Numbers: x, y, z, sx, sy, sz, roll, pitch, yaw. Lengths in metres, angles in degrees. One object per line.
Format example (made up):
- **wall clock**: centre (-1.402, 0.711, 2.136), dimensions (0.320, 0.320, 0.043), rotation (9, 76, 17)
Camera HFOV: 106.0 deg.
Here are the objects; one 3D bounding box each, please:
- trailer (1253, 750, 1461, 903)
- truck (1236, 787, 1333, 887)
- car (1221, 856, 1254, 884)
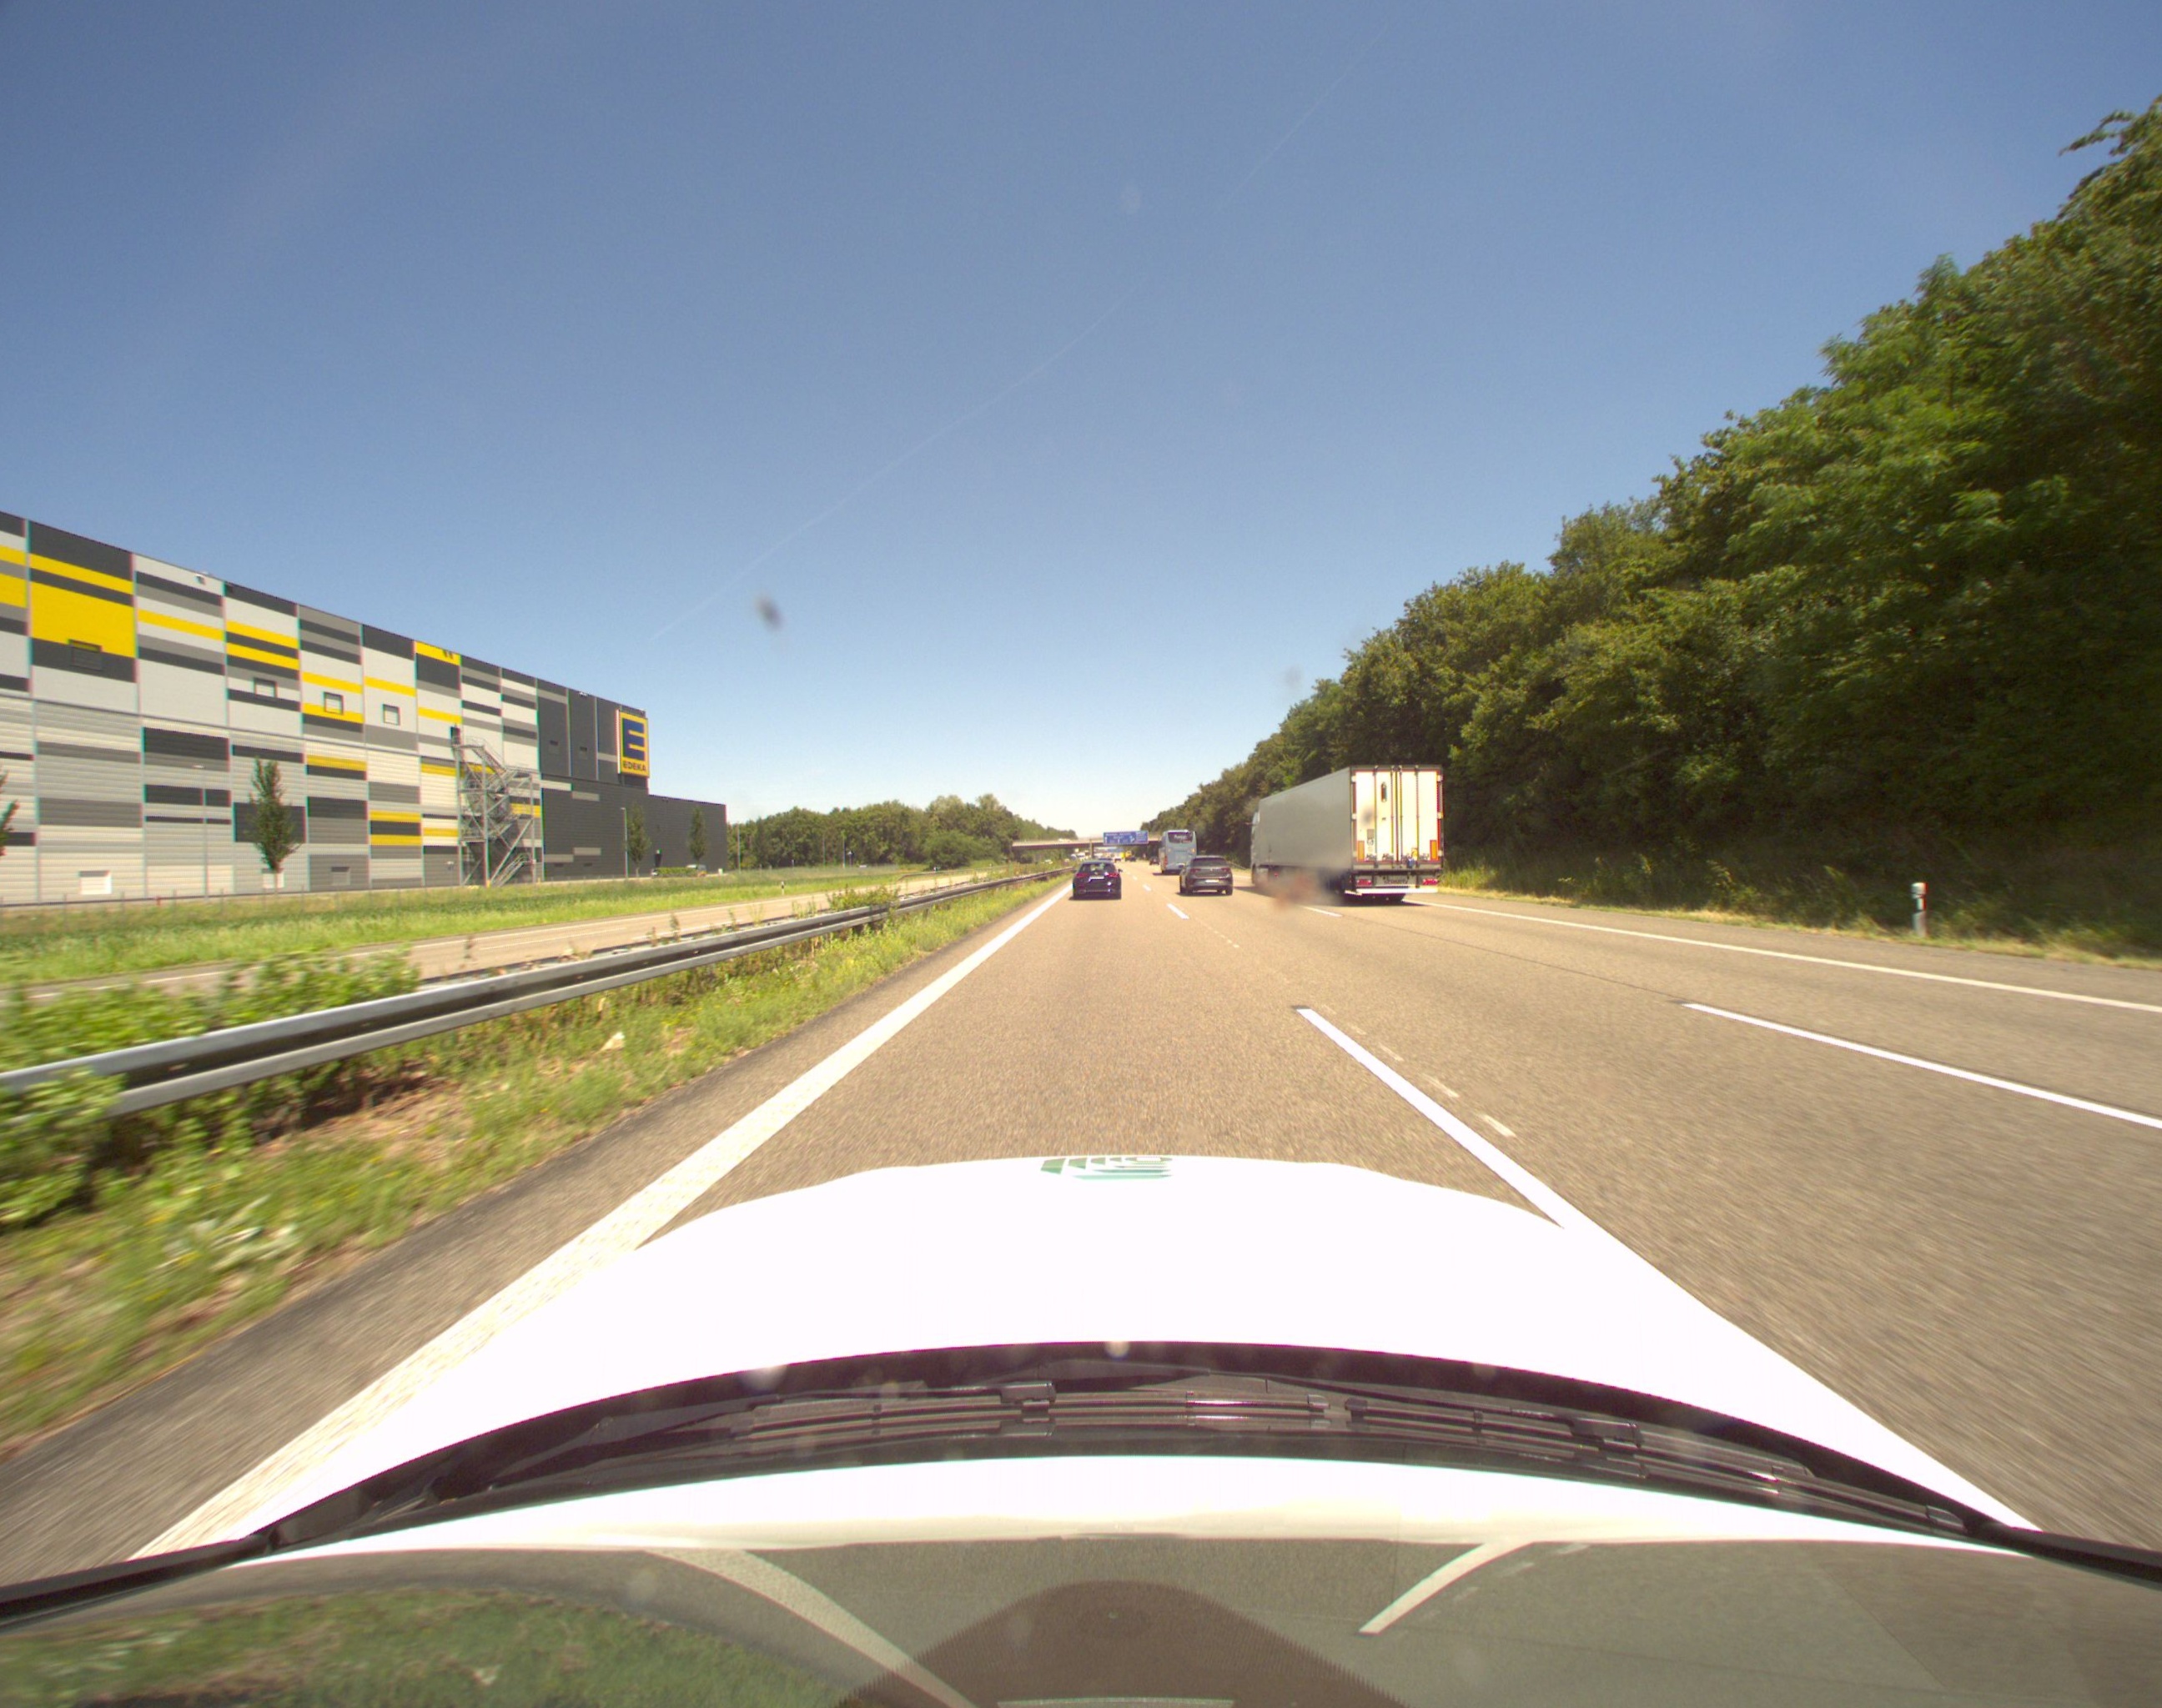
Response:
- **trailer**: centre (9.123, -0.742, 29.525), dimensions (3.029, 4.224, 13.837), rotation (-1, 0, 1)
- **truck**: centre (9.270, -0.729, 37.826), dimensions (3.037, 4.215, 6.049), rotation (-1, 0, 1)
- **car**: centre (12.358, 1.267, 64.617), dimensions (1.892, 2.120, 4.242), rotation (-1, 0, 1)
